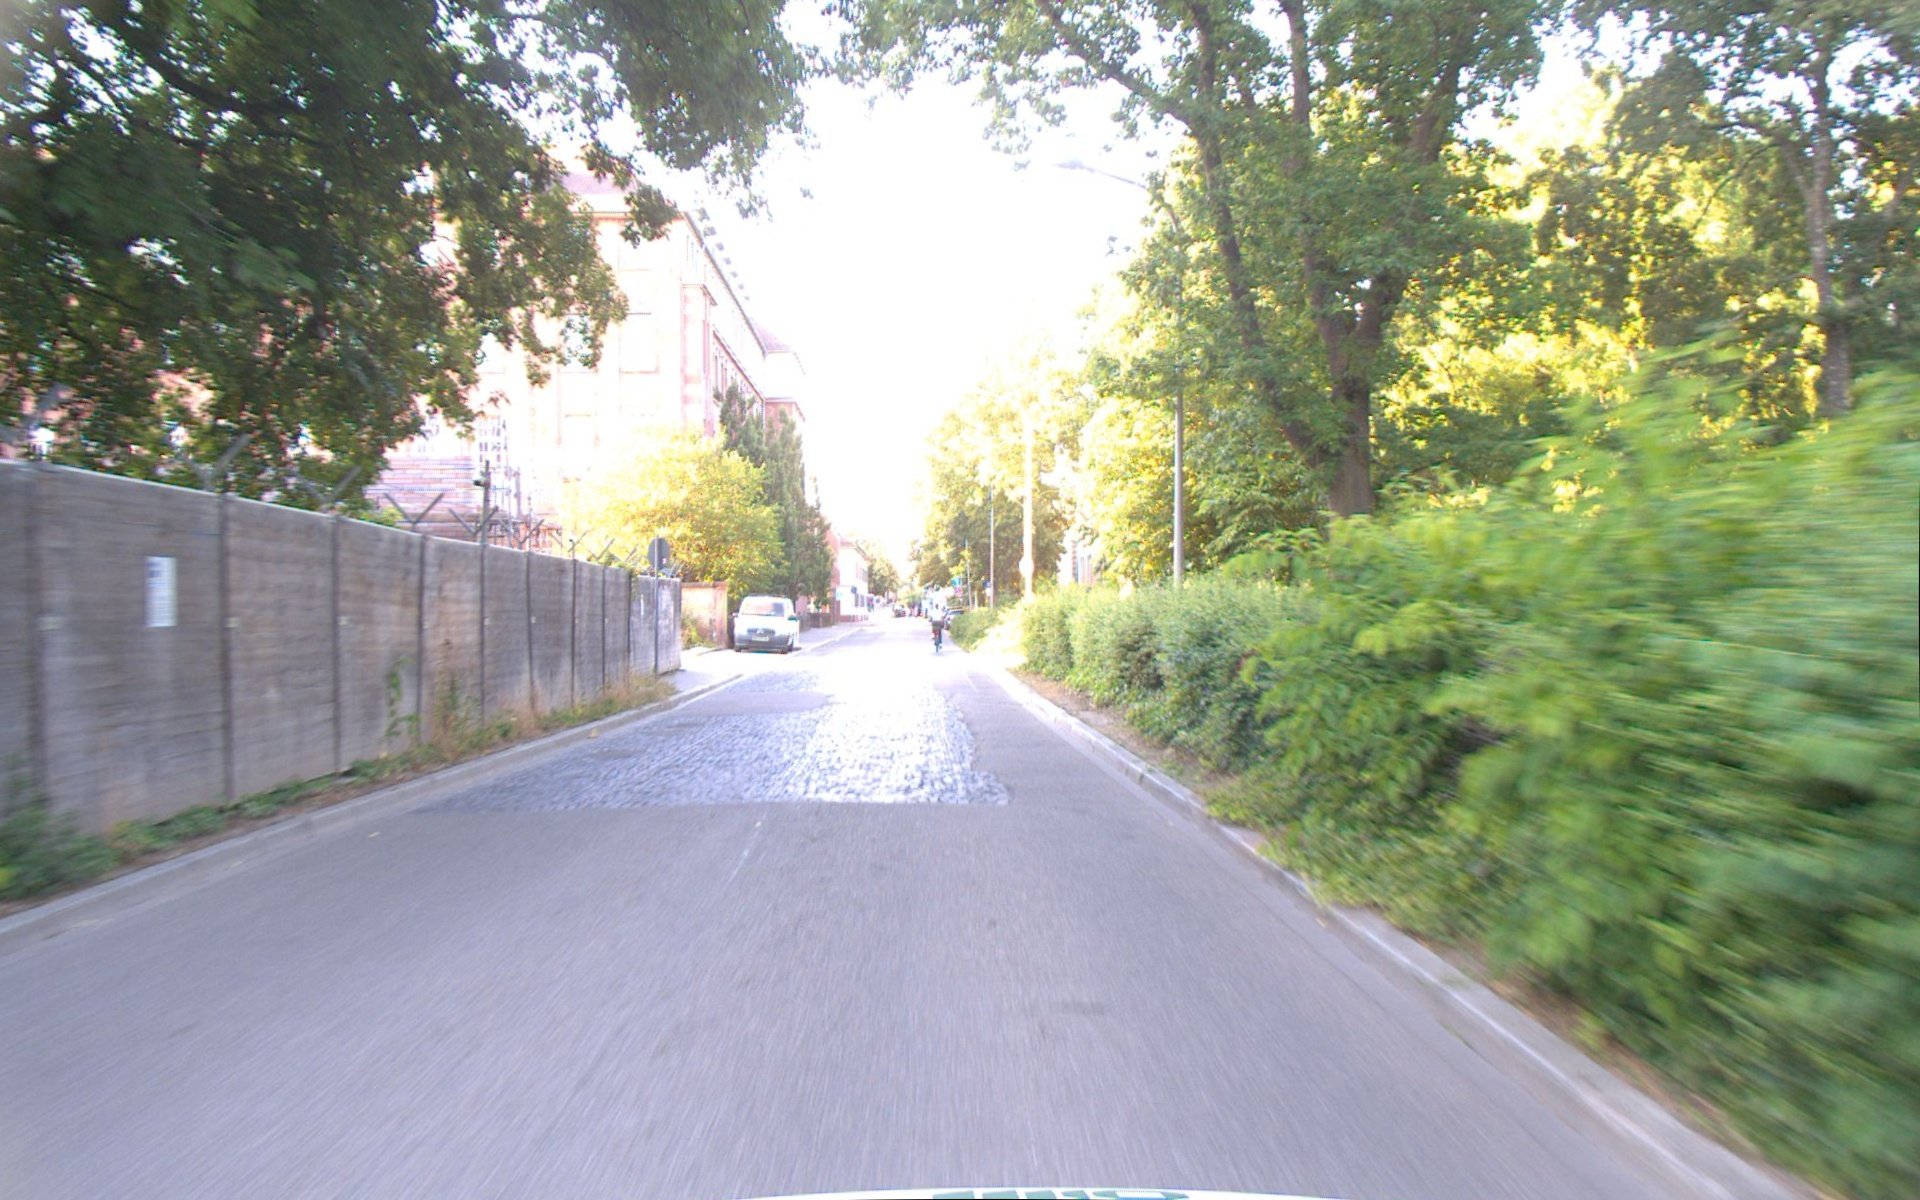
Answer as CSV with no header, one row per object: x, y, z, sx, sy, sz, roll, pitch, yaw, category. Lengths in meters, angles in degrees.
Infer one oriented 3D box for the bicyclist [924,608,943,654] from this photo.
-0.980,1.158,61.332,0.626,1.697,0.842,1,-1,-4,bicyclist

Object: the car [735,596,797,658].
-6.813,0.986,58.386,1.845,2.049,5.221,1,-2,-4,car

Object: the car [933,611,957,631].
-1.181,1.671,131.935,1.682,1.565,4.045,0,-1,-4,car

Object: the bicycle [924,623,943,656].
-0.984,1.456,61.321,0.625,1.214,1.874,1,-1,-4,bicycle

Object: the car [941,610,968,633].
-0.425,1.560,117.997,1.652,1.472,3.668,-3,-1,-4,car
